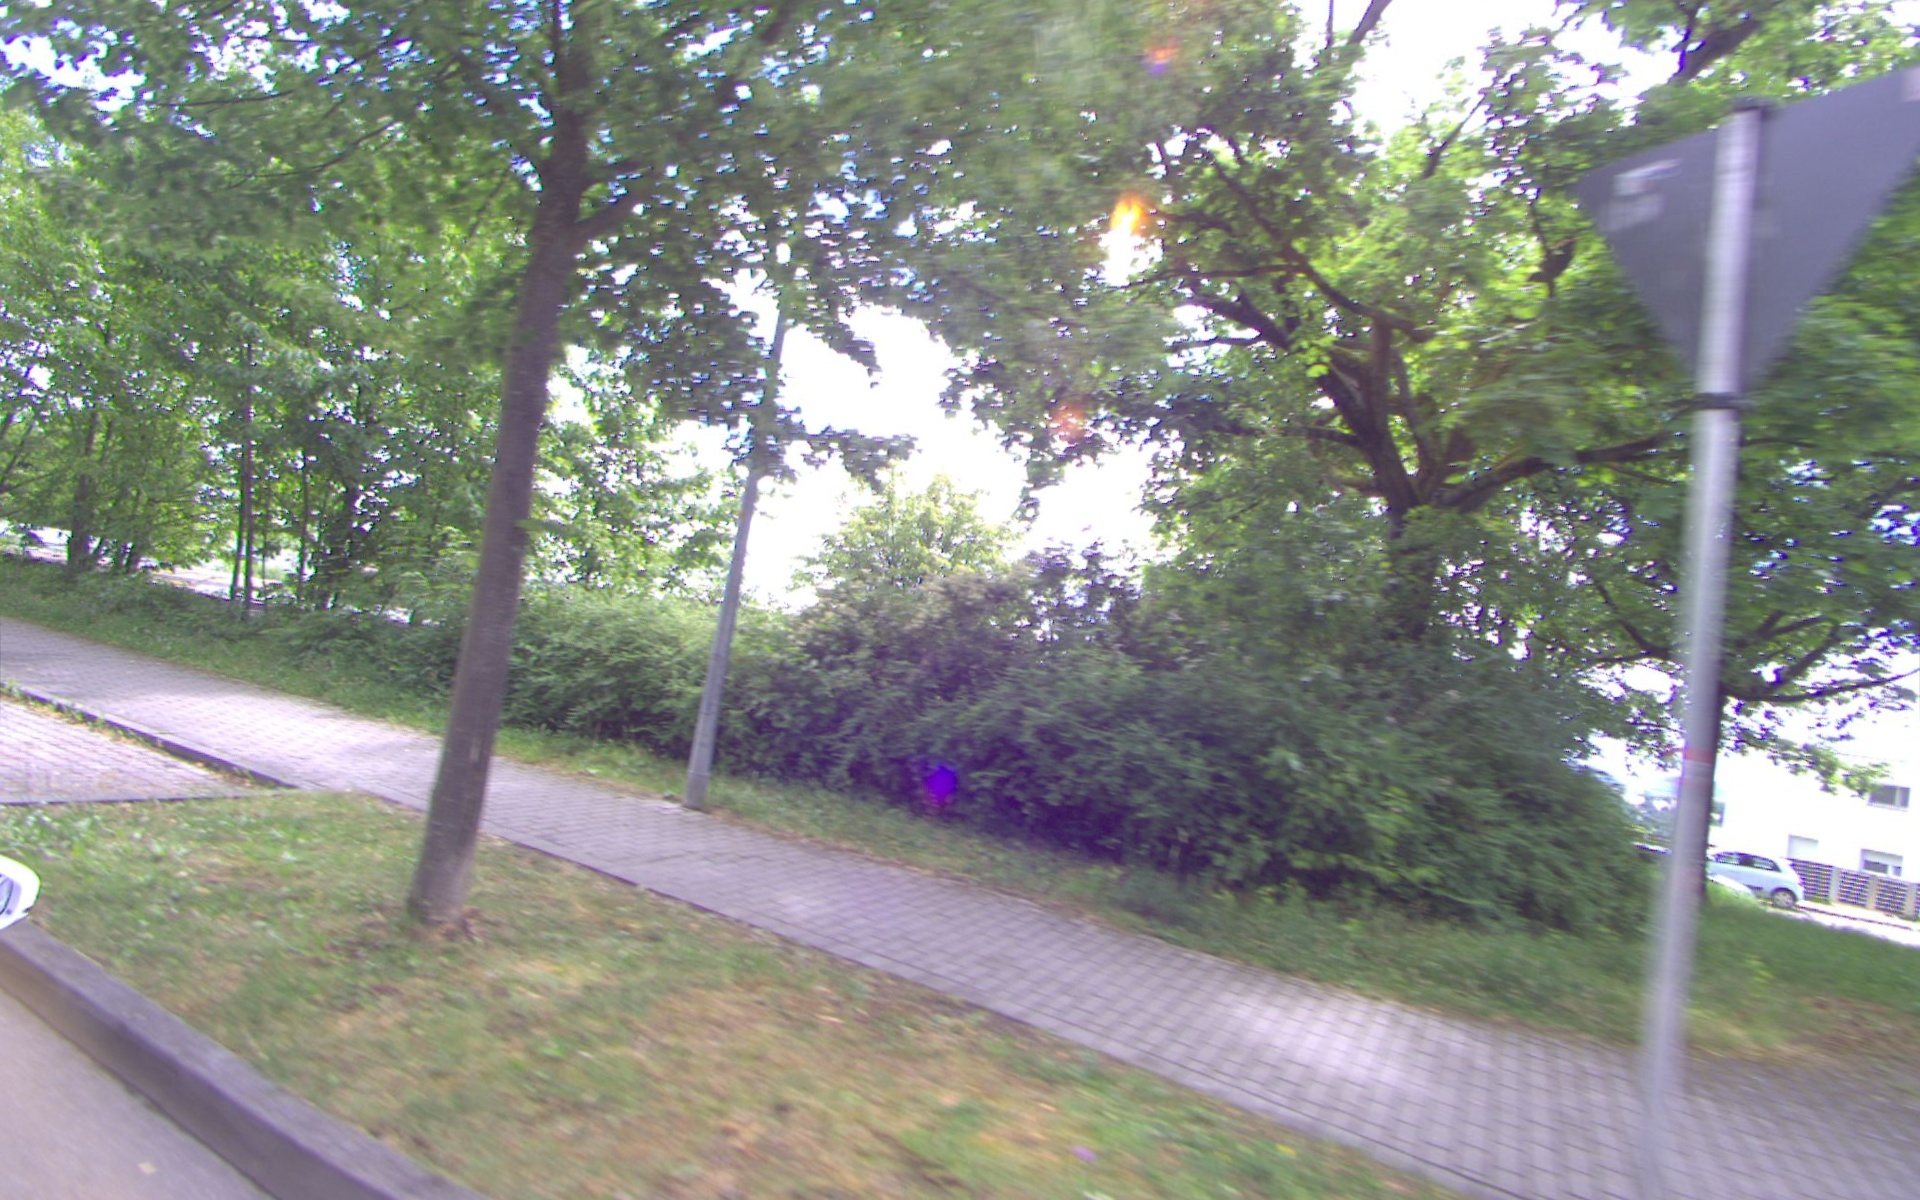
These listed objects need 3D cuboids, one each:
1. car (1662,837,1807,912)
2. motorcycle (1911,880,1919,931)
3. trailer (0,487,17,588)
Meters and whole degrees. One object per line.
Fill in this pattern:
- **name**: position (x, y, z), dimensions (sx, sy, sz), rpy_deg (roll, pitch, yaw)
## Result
- **car**: position (25.143, 8.853, 32.685), dimensions (3.558, 1.613, 1.733), rpy_deg (2, -8, 43)
- **motorcycle**: position (29.024, 9.185, 29.876), dimensions (0.831, 1.316, 2.980), rpy_deg (3, -6, 39)
- **trailer**: position (-9.107, -0.391, 7.397), dimensions (3.929, 1.543, 1.790), rpy_deg (8, -2, 27)
